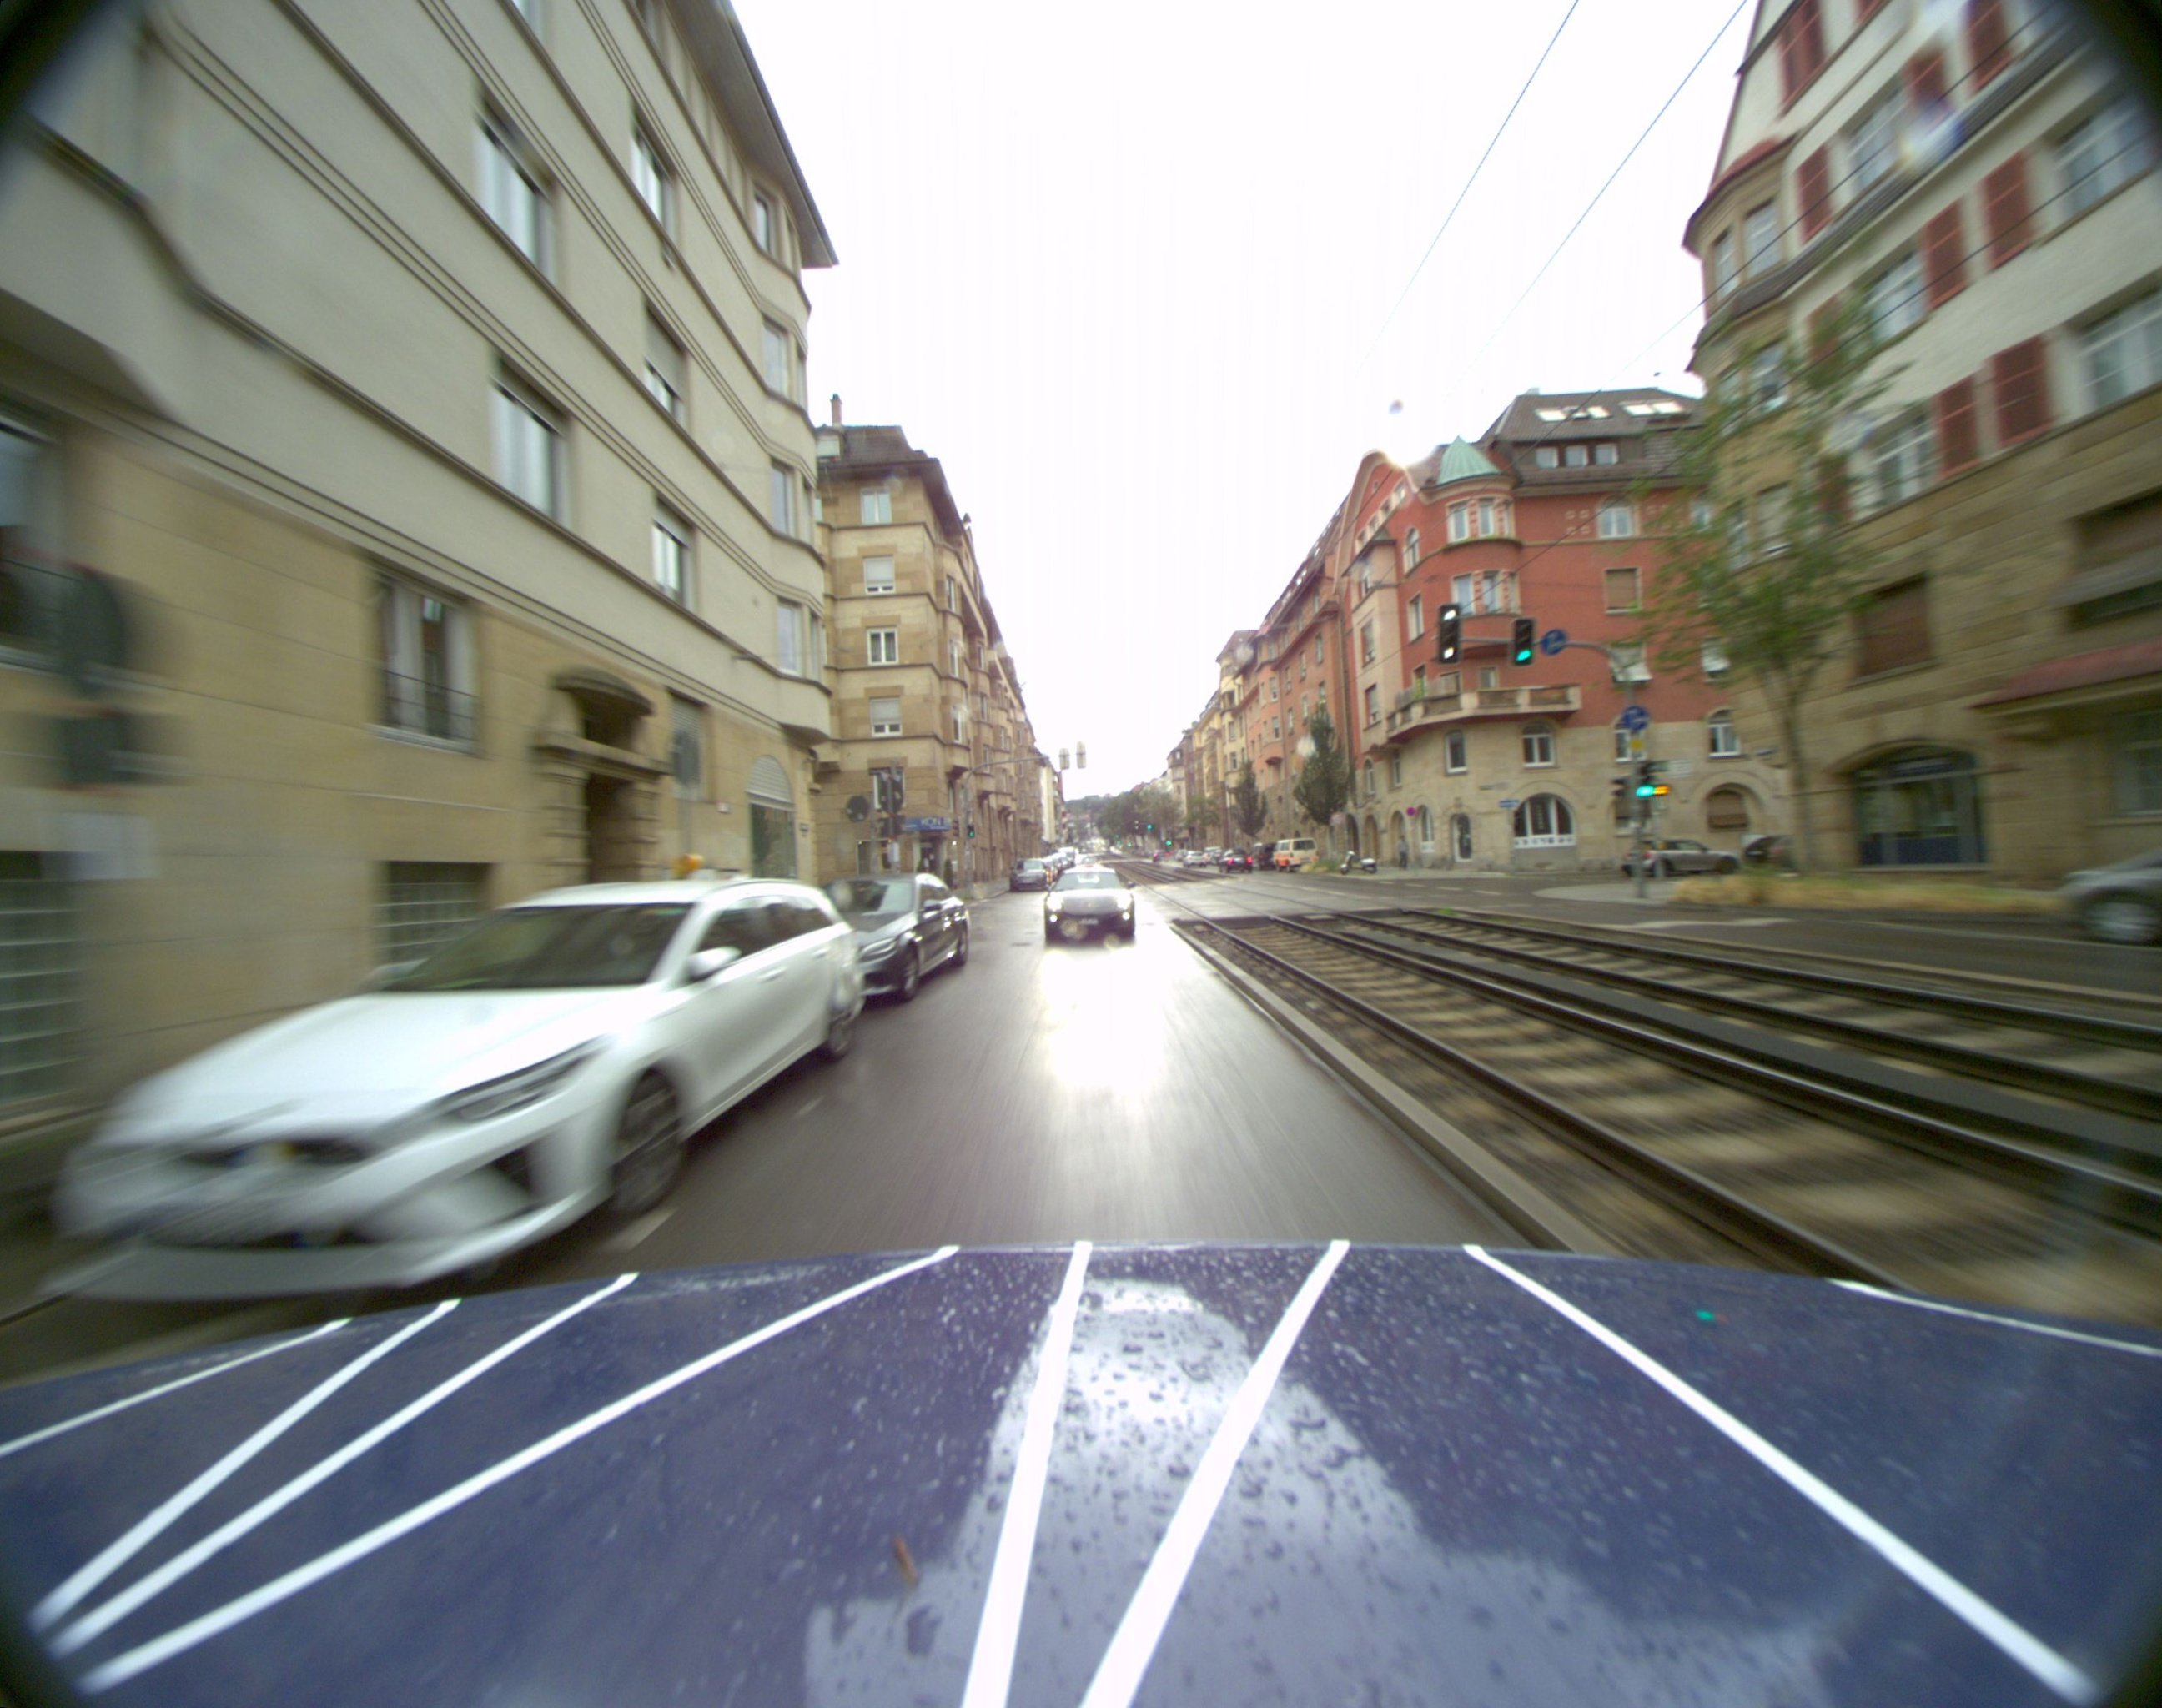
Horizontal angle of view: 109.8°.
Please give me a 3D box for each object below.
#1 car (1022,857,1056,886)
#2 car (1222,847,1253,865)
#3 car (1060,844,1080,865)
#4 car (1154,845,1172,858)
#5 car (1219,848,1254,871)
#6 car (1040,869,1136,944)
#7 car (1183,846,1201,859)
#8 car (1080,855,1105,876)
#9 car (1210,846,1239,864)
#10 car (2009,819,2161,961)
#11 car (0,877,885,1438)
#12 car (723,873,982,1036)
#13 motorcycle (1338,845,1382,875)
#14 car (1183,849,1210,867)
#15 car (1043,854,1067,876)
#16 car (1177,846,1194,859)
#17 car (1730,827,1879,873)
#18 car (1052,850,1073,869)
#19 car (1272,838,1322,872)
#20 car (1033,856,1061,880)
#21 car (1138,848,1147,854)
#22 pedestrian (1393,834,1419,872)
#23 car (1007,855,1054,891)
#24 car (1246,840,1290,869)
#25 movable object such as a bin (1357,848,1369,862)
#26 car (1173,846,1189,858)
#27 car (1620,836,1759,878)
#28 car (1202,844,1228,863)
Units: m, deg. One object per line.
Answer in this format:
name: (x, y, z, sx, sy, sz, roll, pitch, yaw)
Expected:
car: (-2.344, 0.982, 43.275, 1.710, 1.444, 3.532, -3, 0, -1)
car: (13.516, 0.126, 65.852, 1.760, 1.396, 3.694, -5, 1, -2)
car: (-1.345, 0.048, 95.468, 1.991, 2.520, 6.155, -3, 0, 3)
car: (10.841, -0.300, 100.795, 1.926, 1.608, 4.128, -2, 1, 0)
car: (10.414, 0.347, 51.120, 1.657, 1.454, 3.734, -1, 0, 1)
car: (0.176, 1.002, 15.977, 1.737, 1.262, 4.258, 0, 0, 1)
car: (13.852, -0.189, 95.017, 1.717, 1.473, 3.712, -5, 1, 3)
car: (0.916, 0.867, 58.447, 1.793, 1.459, 4.257, -2, 1, 1)
car: (13.323, 0.061, 70.760, 1.760, 1.482, 4.597, -4, 1, -1)
car: (12.589, 0.388, 7.520, 1.694, 1.520, 4.175, -2, 1, 0)
car: (-2.770, 1.010, 4.687, 1.716, 1.459, 4.773, -2, 1, 1)
car: (-2.614, 1.078, 10.055, 1.715, 1.402, 4.817, -2, 1, 3)
motorcycle: (13.118, 0.284, 35.727, 1.779, 1.367, 0.769, -2, 1, 33)
car: (10.449, 0.312, 68.910, 1.785, 1.494, 4.061, -2, 1, 0)
car: (-2.013, 0.810, 59.642, 1.774, 1.592, 3.999, -1, 0, 0)
car: (13.859, -0.211, 101.140, 1.759, 1.443, 4.043, -5, 1, 3)
car: (28.242, -0.163, 29.740, 3.998, 1.565, 1.999, -2, 1, -3)
car: (-1.797, 0.537, 74.491, 1.811, 1.758, 3.962, -2, 0, 1)
car: (13.116, 0.014, 46.381, 1.732, 1.919, 4.475, -2, 1, 0)
car: (-2.251, 0.913, 50.742, 1.598, 1.478, 3.522, -2, 0, 1)
car: (13.789, -0.711, 171.082, 1.794, 1.339, 4.257, -2, 1, 1)
pedestrian: (15.810, -0.049, 36.967, 0.718, 1.710, 0.892, -8, 1, 1)
car: (-2.408, 0.894, 37.450, 1.872, 1.540, 3.991, -3, 0, 1)
car: (13.119, -0.005, 53.677, 1.910, 1.919, 4.832, -2, 1, 1)
movable object such as a bin: (18.033, 0.053, 48.542, 0.547, 0.893, 0.656, -2, 1, 4)
car: (13.991, -0.296, 106.097, 1.759, 1.419, 3.712, -5, 1, 2)
car: (23.717, 0.104, 29.728, 3.997, 1.458, 1.747, -2, 1, 1)
car: (13.402, -0.095, 76.297, 1.759, 1.663, 4.259, -5, 1, 0)
